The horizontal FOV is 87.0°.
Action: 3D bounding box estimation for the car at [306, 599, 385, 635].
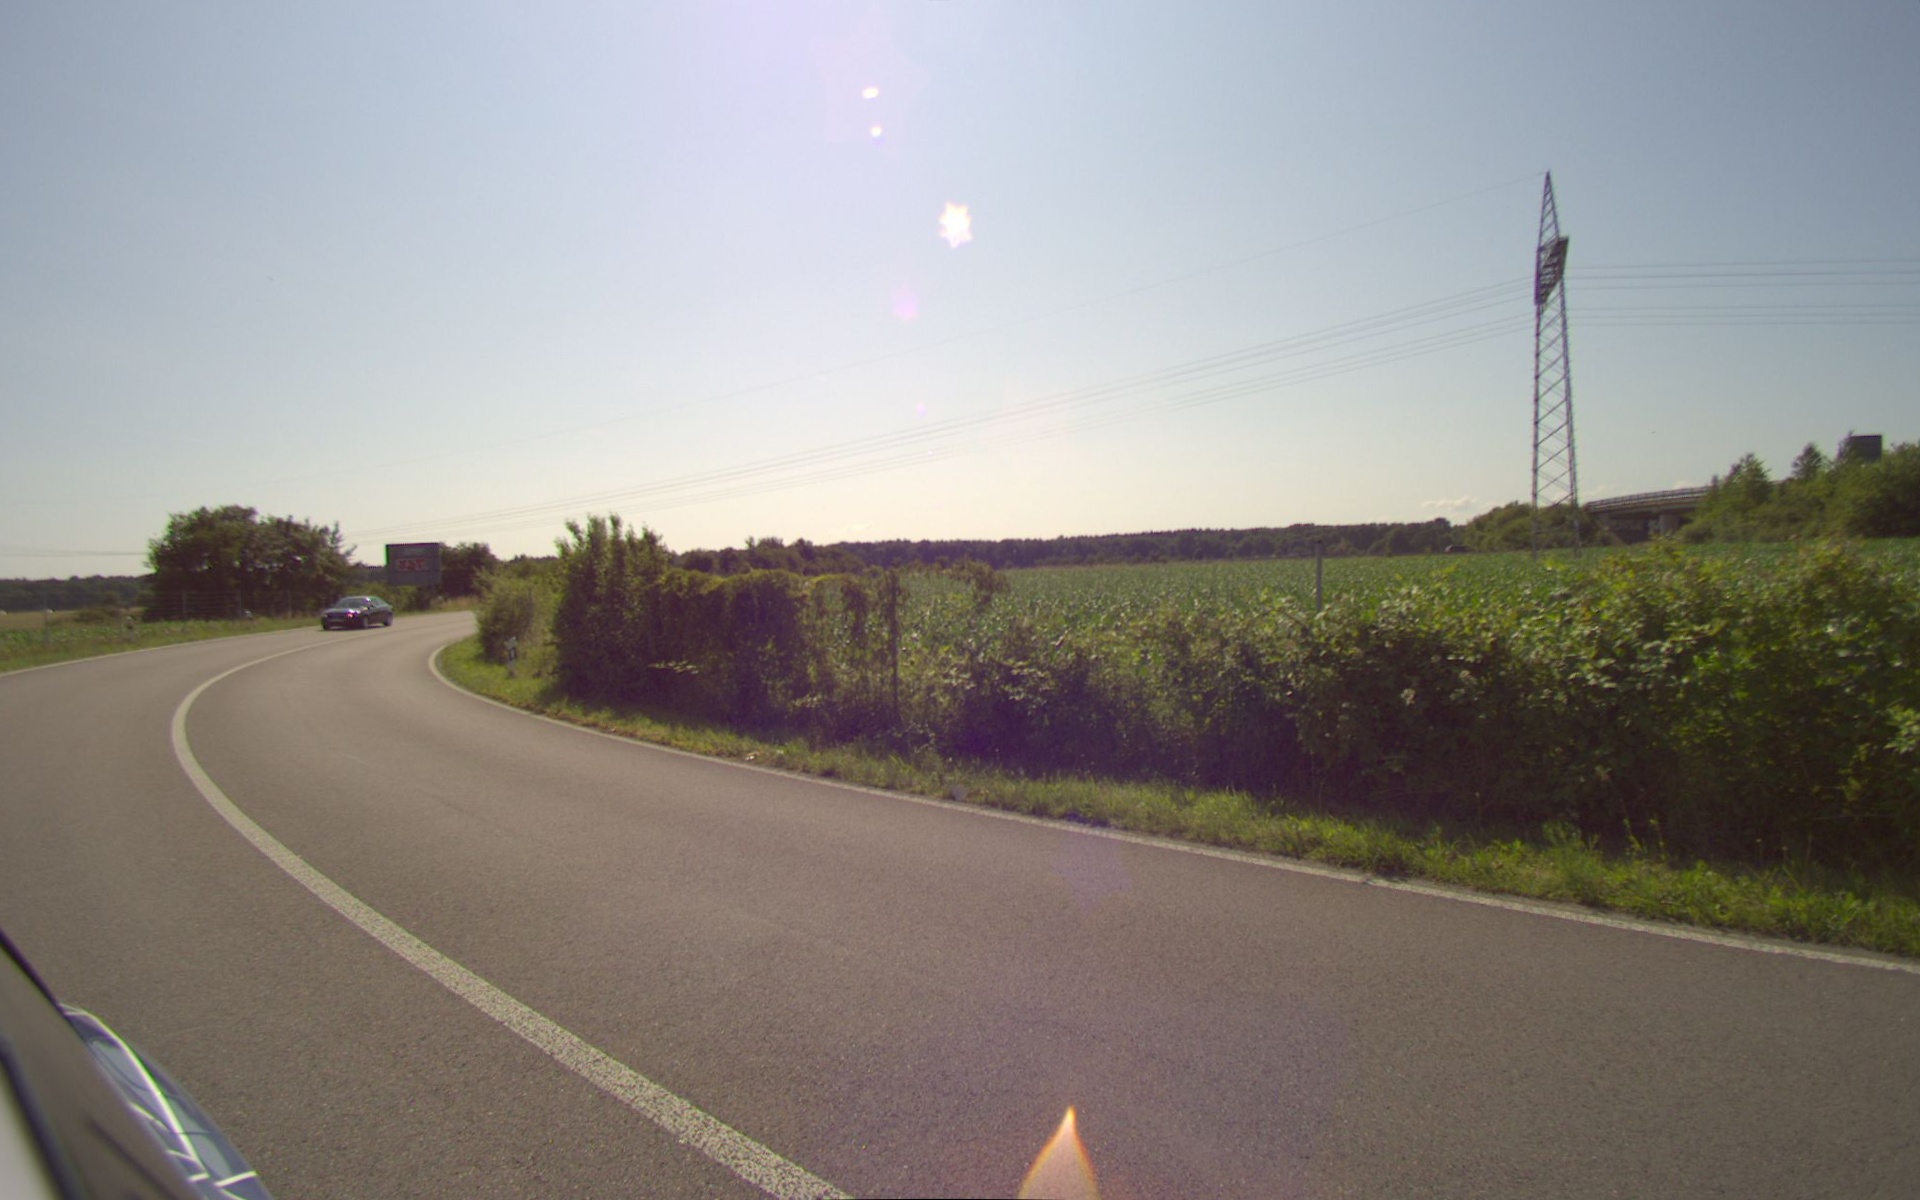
[{"bbox_3d":[-27.552,0.746,45.548,1.856,1.467,4.086,0,1,-13],"label":"car"}]
